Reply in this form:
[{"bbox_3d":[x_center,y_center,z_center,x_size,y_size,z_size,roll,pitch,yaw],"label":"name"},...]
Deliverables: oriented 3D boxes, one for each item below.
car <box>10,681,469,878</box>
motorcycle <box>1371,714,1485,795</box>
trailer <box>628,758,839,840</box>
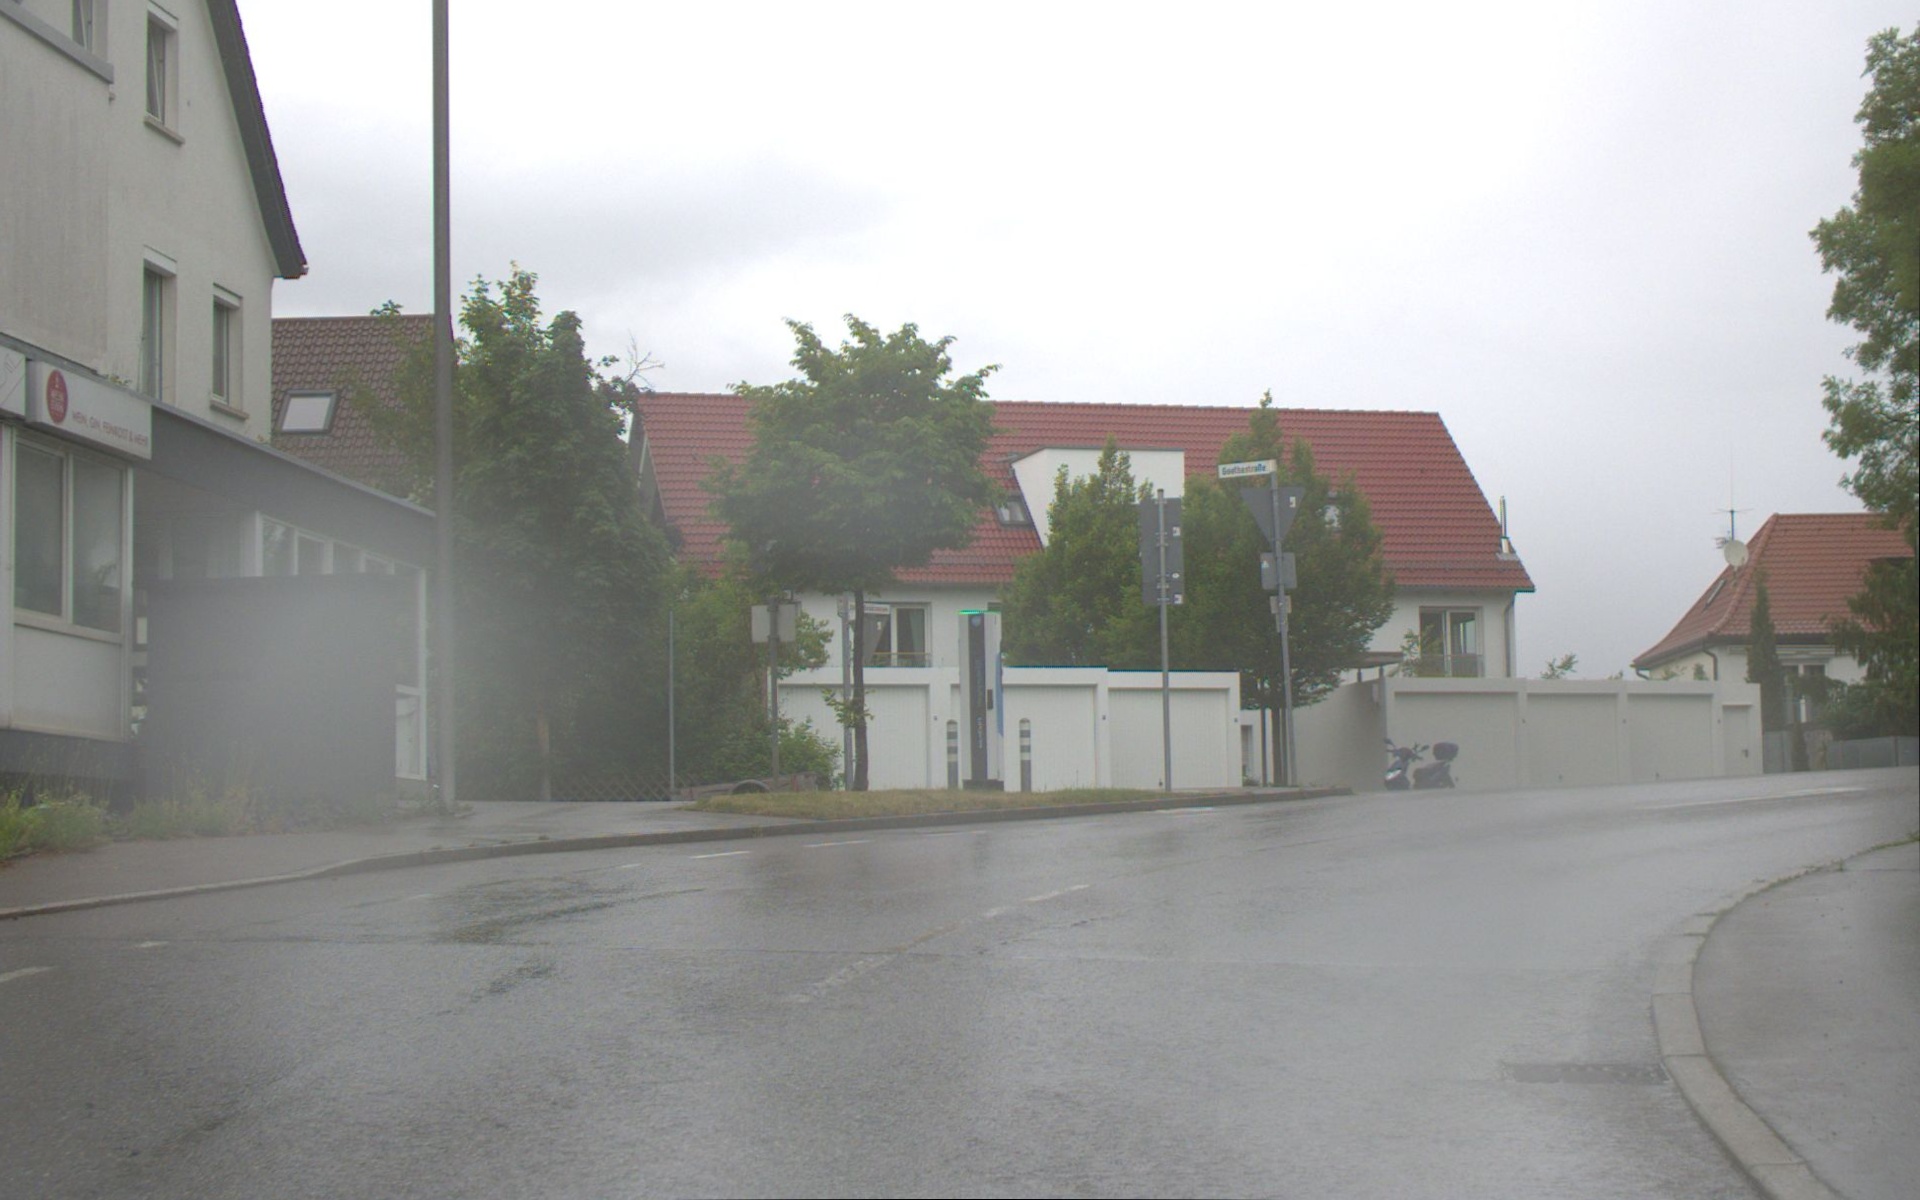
[{"bbox_3d":[-10.624,2.673,50.987,6.233,2.515,2.190,-3,-4,2],"label":"car"},{"bbox_3d":[8.249,2.712,60.547,2.040,1.318,0.708,0,-5,-40],"label":"motorcycle"},{"bbox_3d":[-3.354,2.948,51.119,2.814,1.003,1.593,-4,-3,8],"label":"trailer"}]
